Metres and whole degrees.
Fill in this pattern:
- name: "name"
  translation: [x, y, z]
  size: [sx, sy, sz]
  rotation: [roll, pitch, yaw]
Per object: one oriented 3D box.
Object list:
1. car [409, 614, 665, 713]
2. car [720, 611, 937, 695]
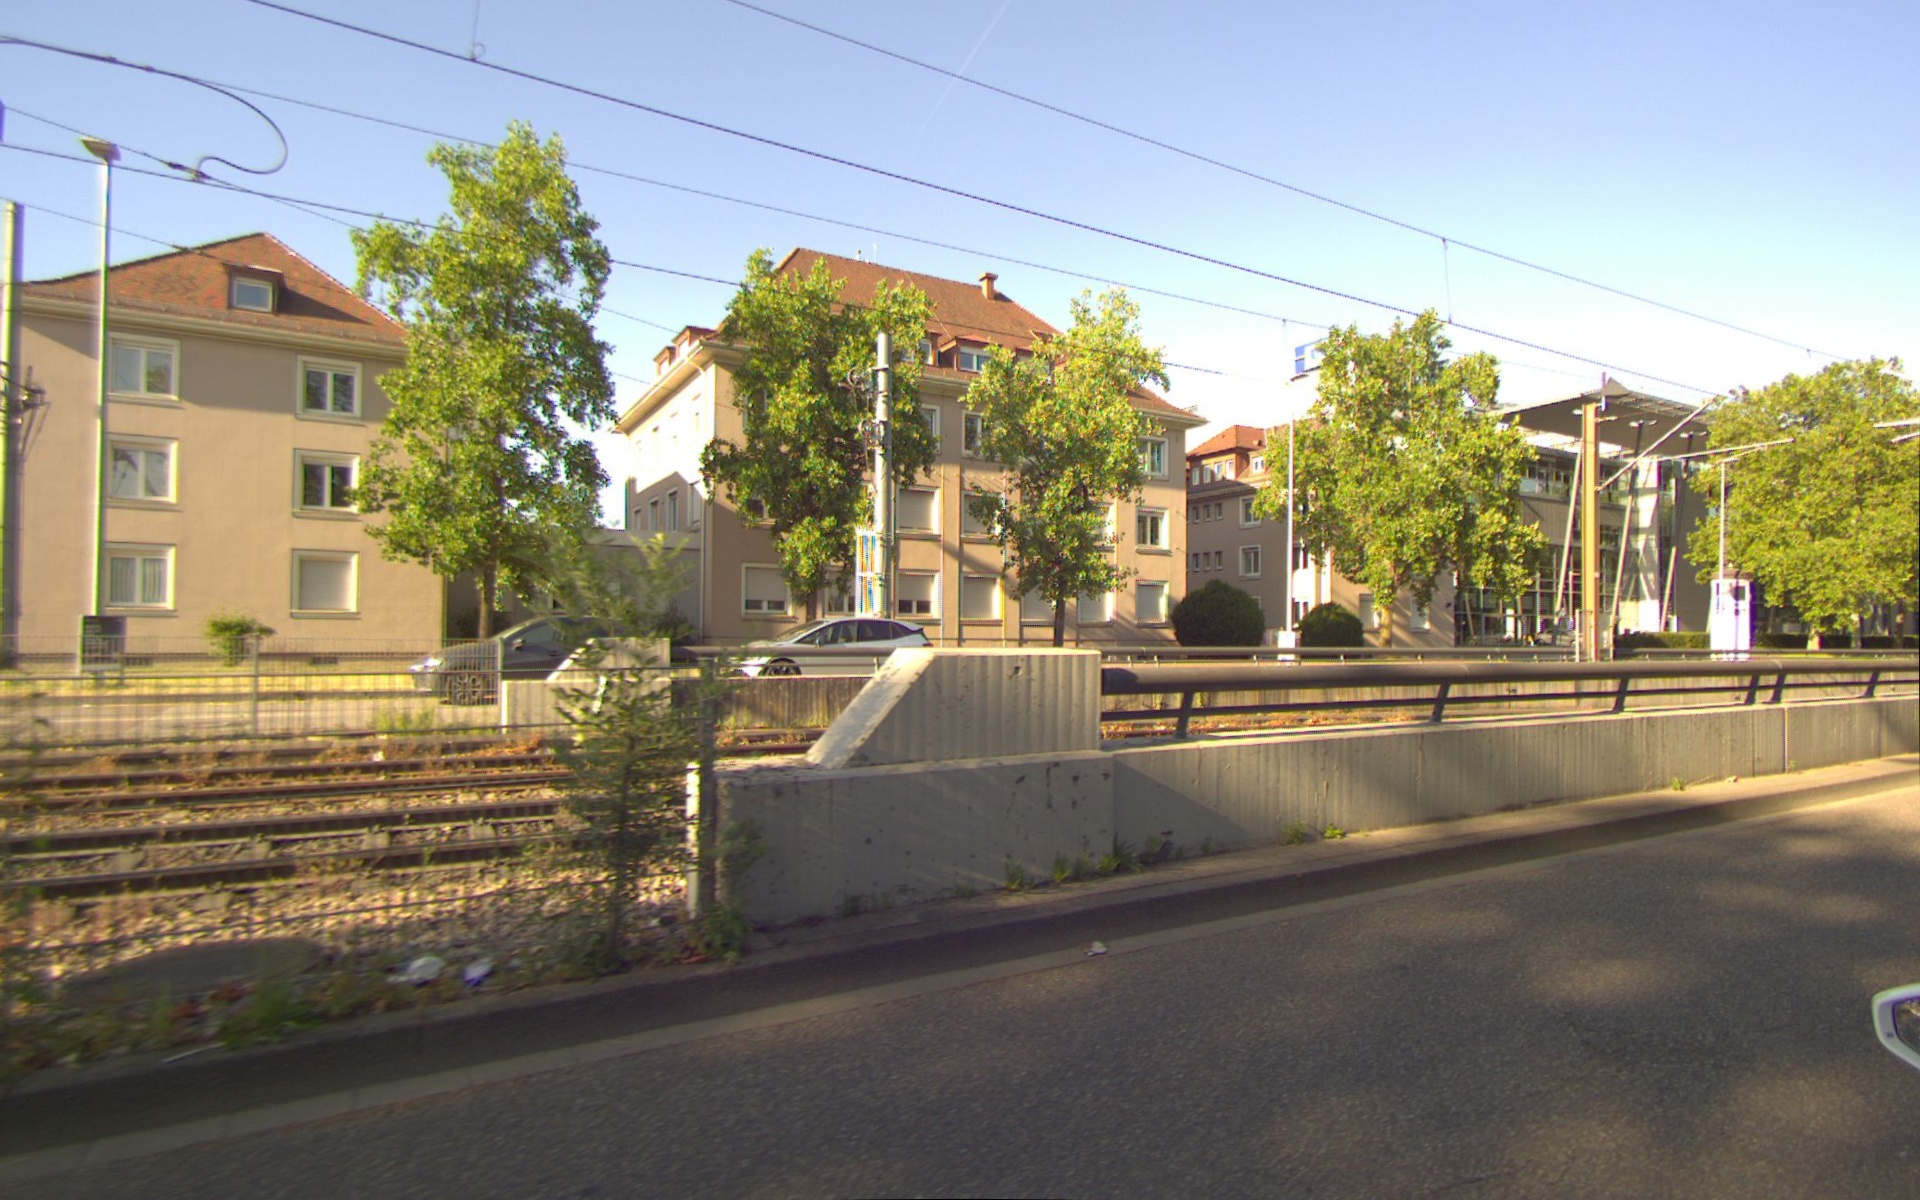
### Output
- name: "car"
  translation: [-7.395, 1.056, 17.628]
  size: [3.953, 1.567, 1.731]
  rotation: [2, -1, -30]
- name: "car"
  translation: [-2.664, 1.040, 20.471]
  size: [3.953, 1.550, 1.984]
  rotation: [2, -1, -30]
